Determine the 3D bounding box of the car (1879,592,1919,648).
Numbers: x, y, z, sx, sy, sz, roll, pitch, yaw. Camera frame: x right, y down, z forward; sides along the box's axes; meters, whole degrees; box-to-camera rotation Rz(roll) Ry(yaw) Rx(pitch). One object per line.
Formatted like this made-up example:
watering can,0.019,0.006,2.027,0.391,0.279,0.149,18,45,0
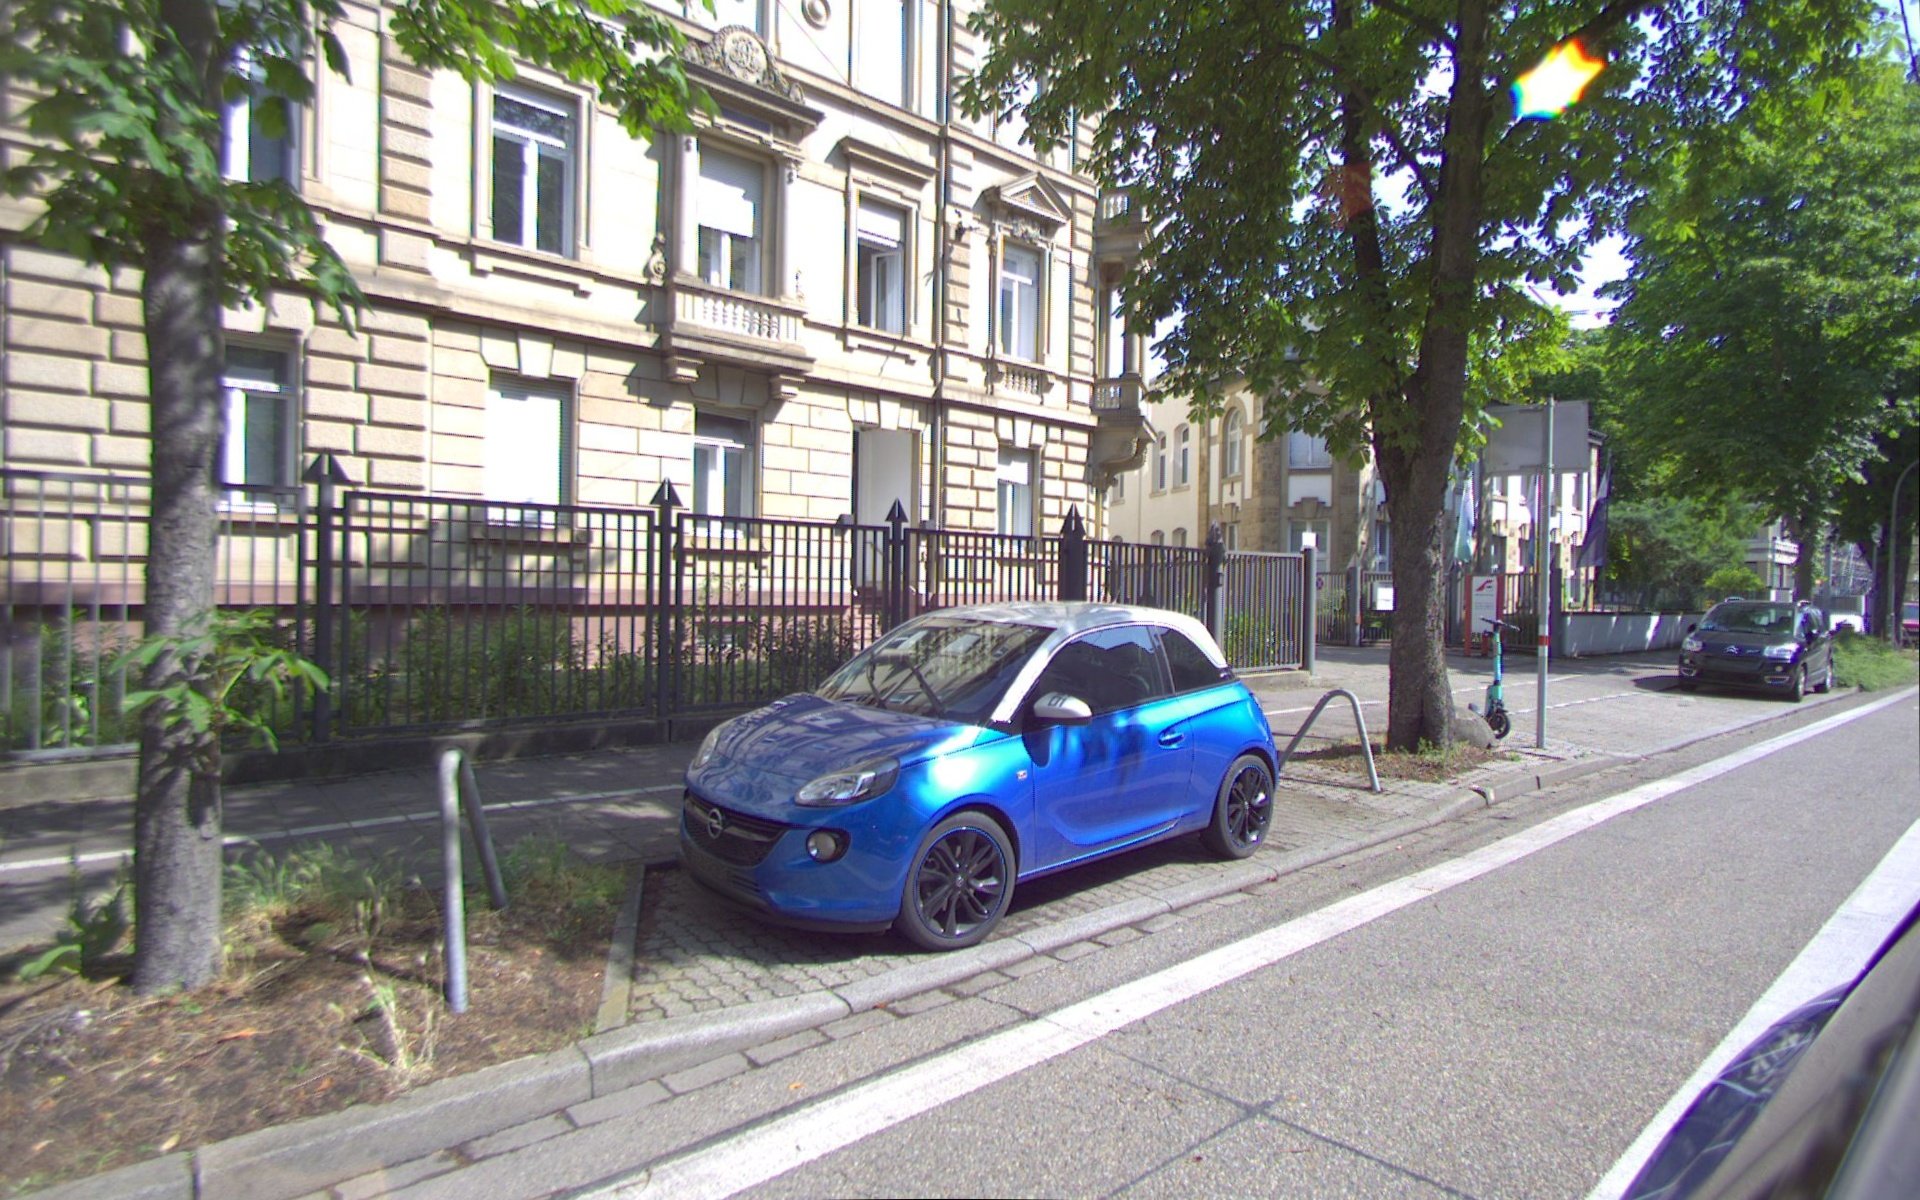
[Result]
car,31.124,0.635,32.572,4.210,1.697,1.878,0,3,-43

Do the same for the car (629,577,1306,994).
car,0.234,0.686,5.609,3.565,1.514,1.642,0,3,-43

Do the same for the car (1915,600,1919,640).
car,36.784,0.785,37.628,3.537,1.445,1.602,-1,5,-44

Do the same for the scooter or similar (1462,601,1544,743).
scooter or similar,5.495,0.687,10.282,0.436,1.315,1.175,4,2,18

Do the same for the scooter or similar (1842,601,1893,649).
scooter or similar,24.766,0.691,27.615,1.233,1.252,0.343,2,3,-16

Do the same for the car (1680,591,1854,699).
car,14.289,0.684,17.832,4.131,1.610,1.700,0,3,-42
